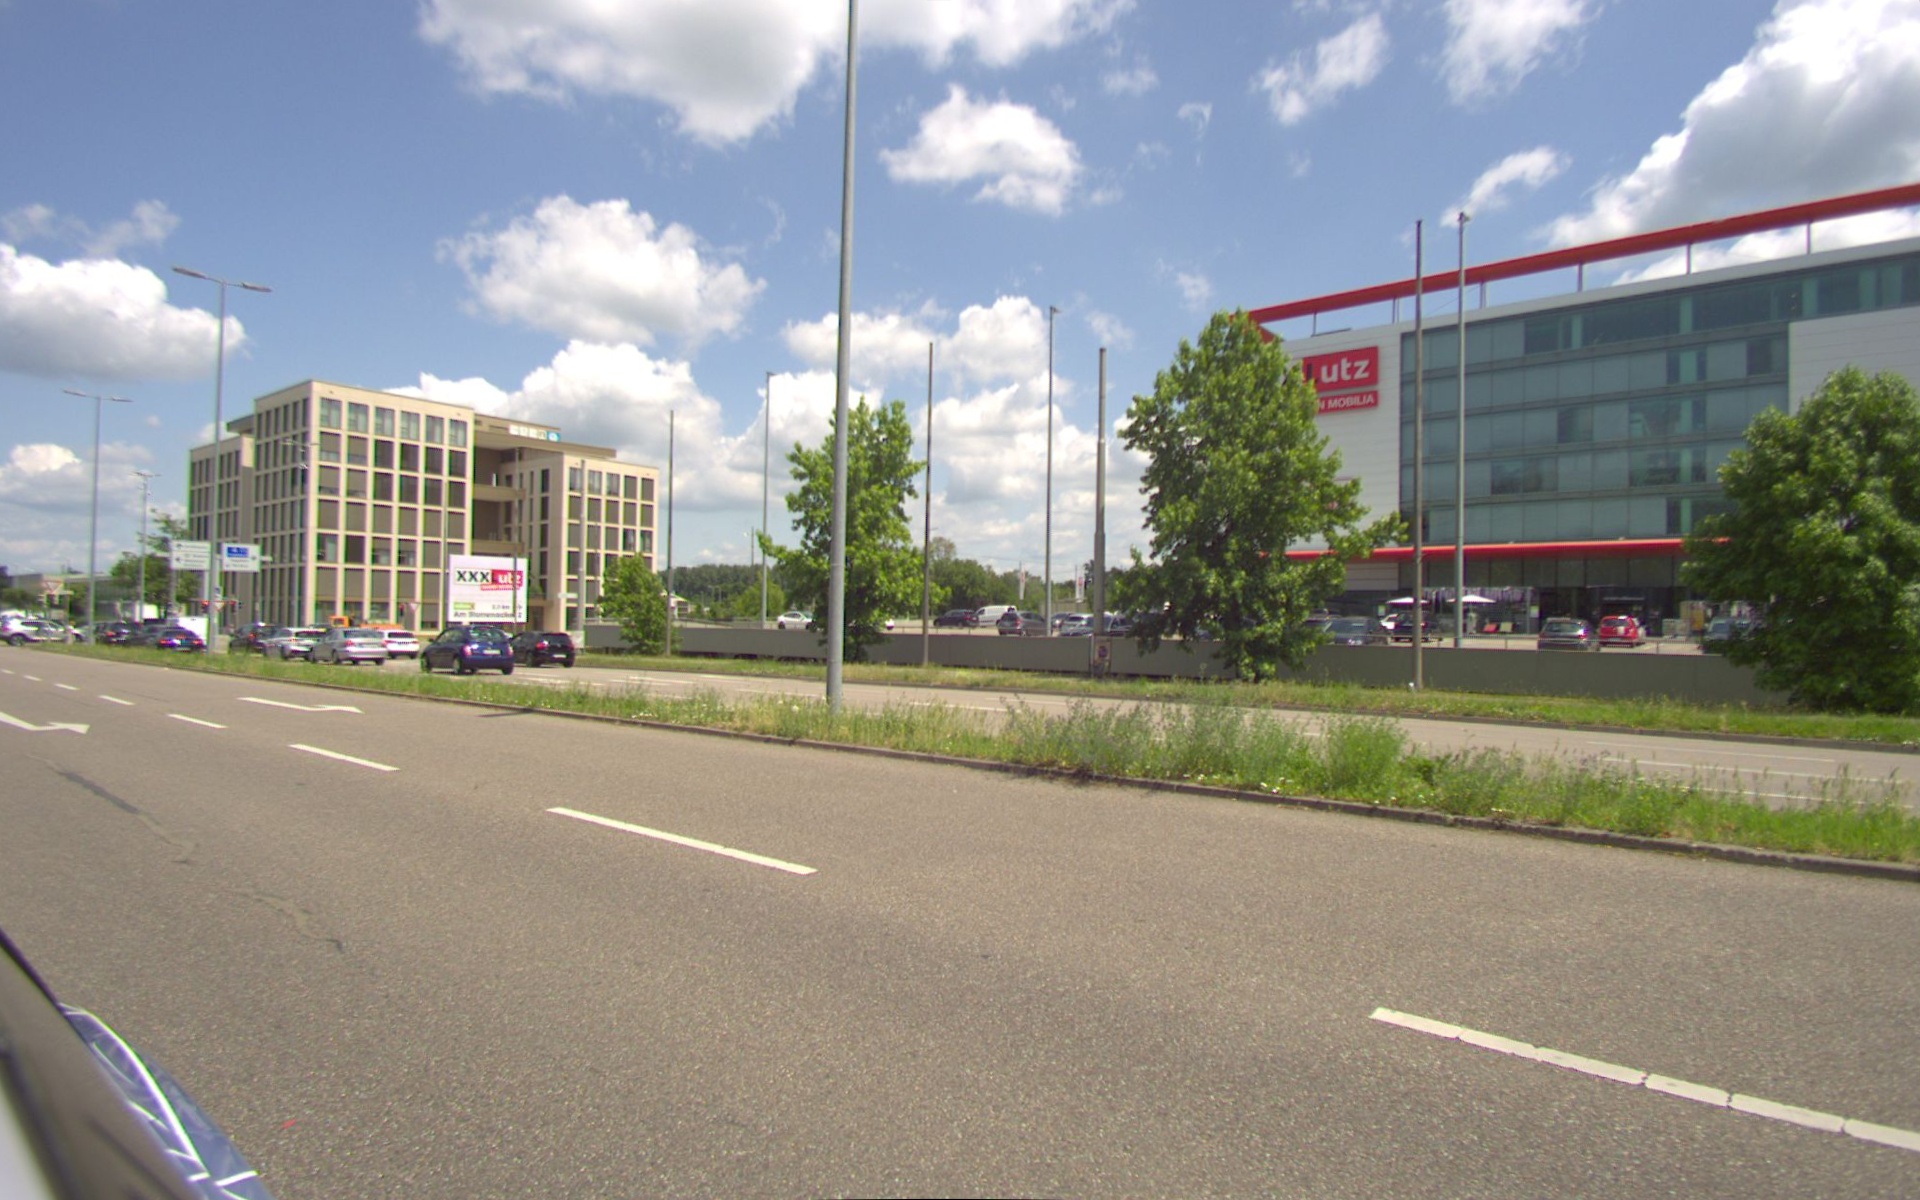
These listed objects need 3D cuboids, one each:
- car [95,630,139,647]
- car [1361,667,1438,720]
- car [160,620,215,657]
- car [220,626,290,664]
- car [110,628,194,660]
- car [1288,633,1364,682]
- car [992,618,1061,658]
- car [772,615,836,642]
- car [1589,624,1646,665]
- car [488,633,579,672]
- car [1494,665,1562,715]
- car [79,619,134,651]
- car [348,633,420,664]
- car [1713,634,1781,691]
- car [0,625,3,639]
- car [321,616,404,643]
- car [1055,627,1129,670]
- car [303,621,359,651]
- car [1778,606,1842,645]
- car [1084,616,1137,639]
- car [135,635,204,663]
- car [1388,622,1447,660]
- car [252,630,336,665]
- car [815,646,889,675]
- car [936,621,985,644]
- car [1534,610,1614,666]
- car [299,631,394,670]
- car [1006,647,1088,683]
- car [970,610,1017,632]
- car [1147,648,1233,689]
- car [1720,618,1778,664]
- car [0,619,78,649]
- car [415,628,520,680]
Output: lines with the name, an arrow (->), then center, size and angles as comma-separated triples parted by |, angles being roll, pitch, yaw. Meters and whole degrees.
car -> -88.647, 4.008, 106.487 | 1.832, 1.741, 4.192 | 2, -2, -13
car -> 18.523, 3.890, 42.604 | 1.998, 2.029, 3.947 | -2, -4, 39
car -> -43.977, 2.219, 57.576 | 3.576, 2.059, 1.837 | -3, -4, 43
car -> -33.768, 2.160, 48.415 | 4.225, 1.714, 1.772 | -3, -4, 42
car -> -41.767, 2.290, 52.297 | 3.745, 1.572, 1.784 | -1, -3, 23
car -> 16.155, 2.509, 44.565 | 1.998, 2.029, 3.947 | -2, -4, 39
car -> 4.067, 2.315, 61.373 | 1.999, 2.347, 4.302 | -1, -3, 41
car -> -11.176, 2.092, 72.347 | 4.669, 1.847, 1.832 | -2, -4, 39
car -> 33.271, 2.235, 51.129 | 1.998, 2.004, 4.306 | -1, -3, 38
car -> -16.912, 2.059, 40.026 | 4.113, 1.481, 1.602 | -2, -4, 40
car -> 25.433, 3.971, 45.234 | 1.998, 2.004, 4.306 | -1, -3, 38
car -> -46.322, 1.947, 54.915 | 4.170, 1.657, 1.772 | -3, -4, 43
car -> -28.738, 2.435, 50.412 | 4.353, 1.484, 1.603 | -2, -4, 39
car -> 30.861, 2.408, 39.677 | 1.989, 2.058, 4.244 | -1, -3, 39
car -> -125.492, 4.111, 130.812 | 4.483, 1.731, 2.259 | -1, -3, 43
car -> -58.565, 2.944, 99.316 | 2.855, 2.347, 6.439 | -5, -6, 45
car -> 7.570, 2.744, 57.700 | 2.001, 2.347, 4.299 | -2, -3, 44
car -> -37.113, 2.142, 59.670 | 3.869, 1.714, 1.772 | -3, -4, 42
car -> 41.950, 1.298, 50.050 | 2.196, 1.792, 5.068 | -2, -4, 38
car -> 10.380, 1.923, 69.772 | 1.855, 1.481, 3.780 | -2, -4, 42
car -> -36.932, 2.297, 47.236 | 4.305, 1.261, 1.772 | -3, -4, 42
car -> 25.394, 2.280, 56.073 | 1.998, 2.004, 4.306 | -1, -3, 38
car -> -28.750, 2.057, 43.618 | 4.843, 1.413, 1.772 | -2, -5, 41
car -> -6.068, 3.405, 57.158 | 1.918, 1.608, 3.944 | -2, -4, 42
car -> 0.038, 2.778, 85.562 | 3.831, 1.847, 1.831 | -2, -4, 41
car -> 23.479, 1.477, 38.641 | 1.998, 2.004, 4.306 | -3, -4, 38
car -> -23.722, 1.941, 39.087 | 4.672, 1.429, 1.773 | -2, -4, 41
car -> 4.097, 3.025, 47.422 | 1.849, 1.608, 3.944 | -2, -4, 42
car -> 2.990, 1.879, 89.479 | 3.828, 1.847, 1.832 | -2, -4, 39
car -> 9.661, 2.829, 42.336 | 1.845, 1.608, 3.944 | -2, -4, 42
car -> 36.649, 1.905, 46.995 | 1.998, 2.004, 4.306 | -1, -3, 38
car -> -58.004, 2.105, 63.181 | 1.861, 1.741, 4.138 | 1, -1, 38
car -> -15.377, 1.641, 31.503 | 3.677, 1.486, 1.720 | -1, -3, 43
